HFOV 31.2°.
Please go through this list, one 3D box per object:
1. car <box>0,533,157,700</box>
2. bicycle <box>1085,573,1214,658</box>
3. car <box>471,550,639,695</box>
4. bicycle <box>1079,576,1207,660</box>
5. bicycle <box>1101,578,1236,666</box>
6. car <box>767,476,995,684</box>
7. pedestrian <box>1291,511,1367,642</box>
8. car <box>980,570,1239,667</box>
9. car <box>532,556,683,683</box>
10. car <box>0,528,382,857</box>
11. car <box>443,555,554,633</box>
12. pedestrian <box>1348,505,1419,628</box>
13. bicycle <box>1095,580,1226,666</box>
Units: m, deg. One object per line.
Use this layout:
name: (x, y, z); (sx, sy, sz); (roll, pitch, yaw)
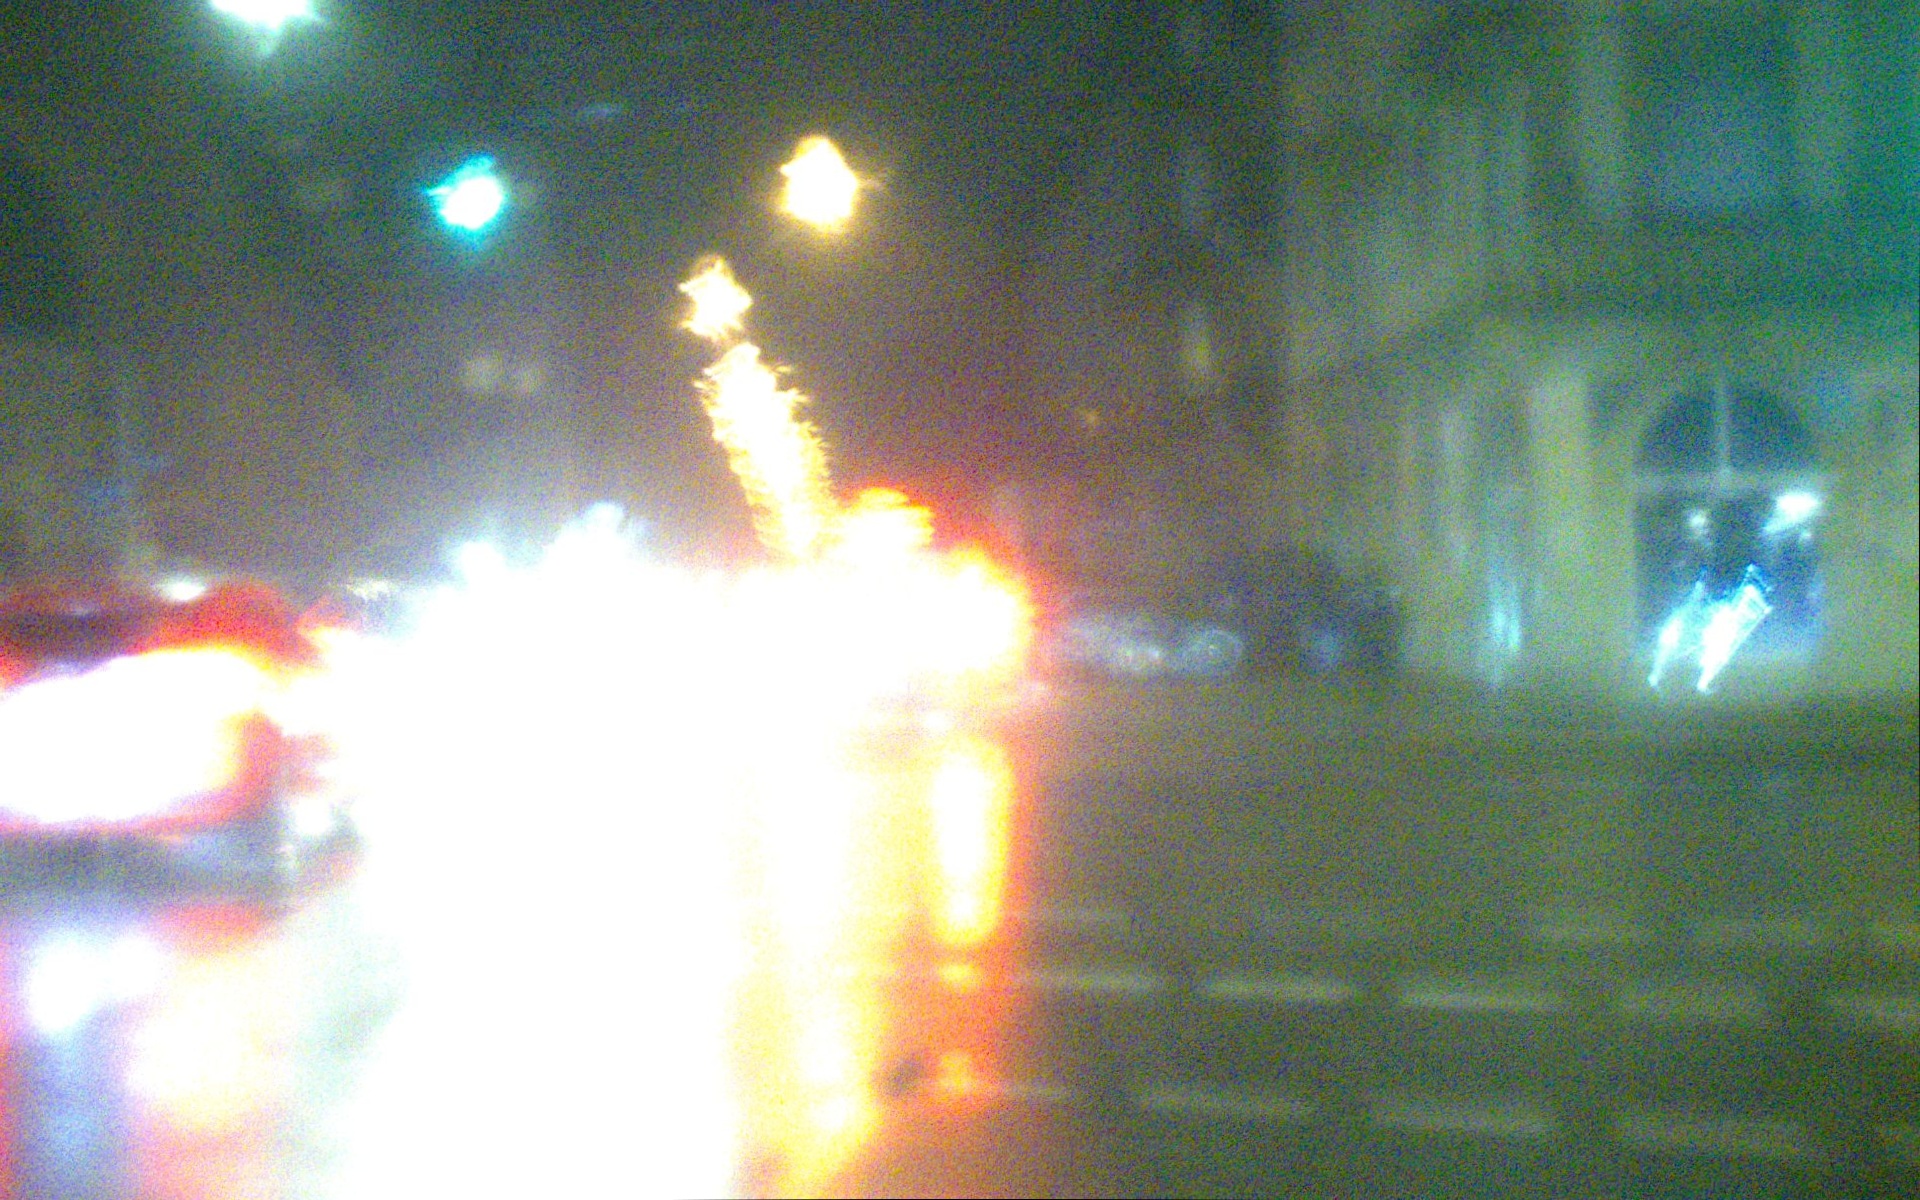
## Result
car: (-10.631, 0.159, 38.942); (1.892, 1.774, 4.333); (-1, 1, 2)
bicycle: (2.967, 0.245, 53.842); (1.896, 1.247, 0.596); (-2, 0, -7)
car: (-4.520, 0.234, 38.801); (1.706, 1.537, 3.989); (0, 0, -4)
bicycle: (2.898, 0.285, 54.478); (1.896, 1.247, 0.596); (-2, 0, -7)
bicycle: (3.157, 0.326, 52.145); (1.896, 1.247, 0.710); (-2, 0, -7)
car: (-0.848, -0.206, 35.205); (2.168, 1.965, 4.302); (-1, 0, -2)
pedestrian: (5.373, -0.344, 50.132); (0.957, 1.875, 1.000); (-1, 0, -2)
car: (2.546, 0.289, 58.059); (4.174, 1.452, 1.856); (-3, 1, -40)
car: (-4.504, 0.230, 44.348); (1.668, 1.557, 4.008); (0, 0, -2)
car: (-4.276, 0.426, 18.512); (1.817, 1.537, 4.727); (0, 0, -4)
car: (-11.985, -0.157, 89.093); (1.990, 1.965, 4.303); (0, 0, -20)
pedestrian: (5.637, -0.445, 45.821); (0.781, 1.612, 1.000); (-1, 0, -2)
bicycle: (3.090, 0.349, 53.161); (1.896, 1.247, 0.596); (-2, 0, -7)
